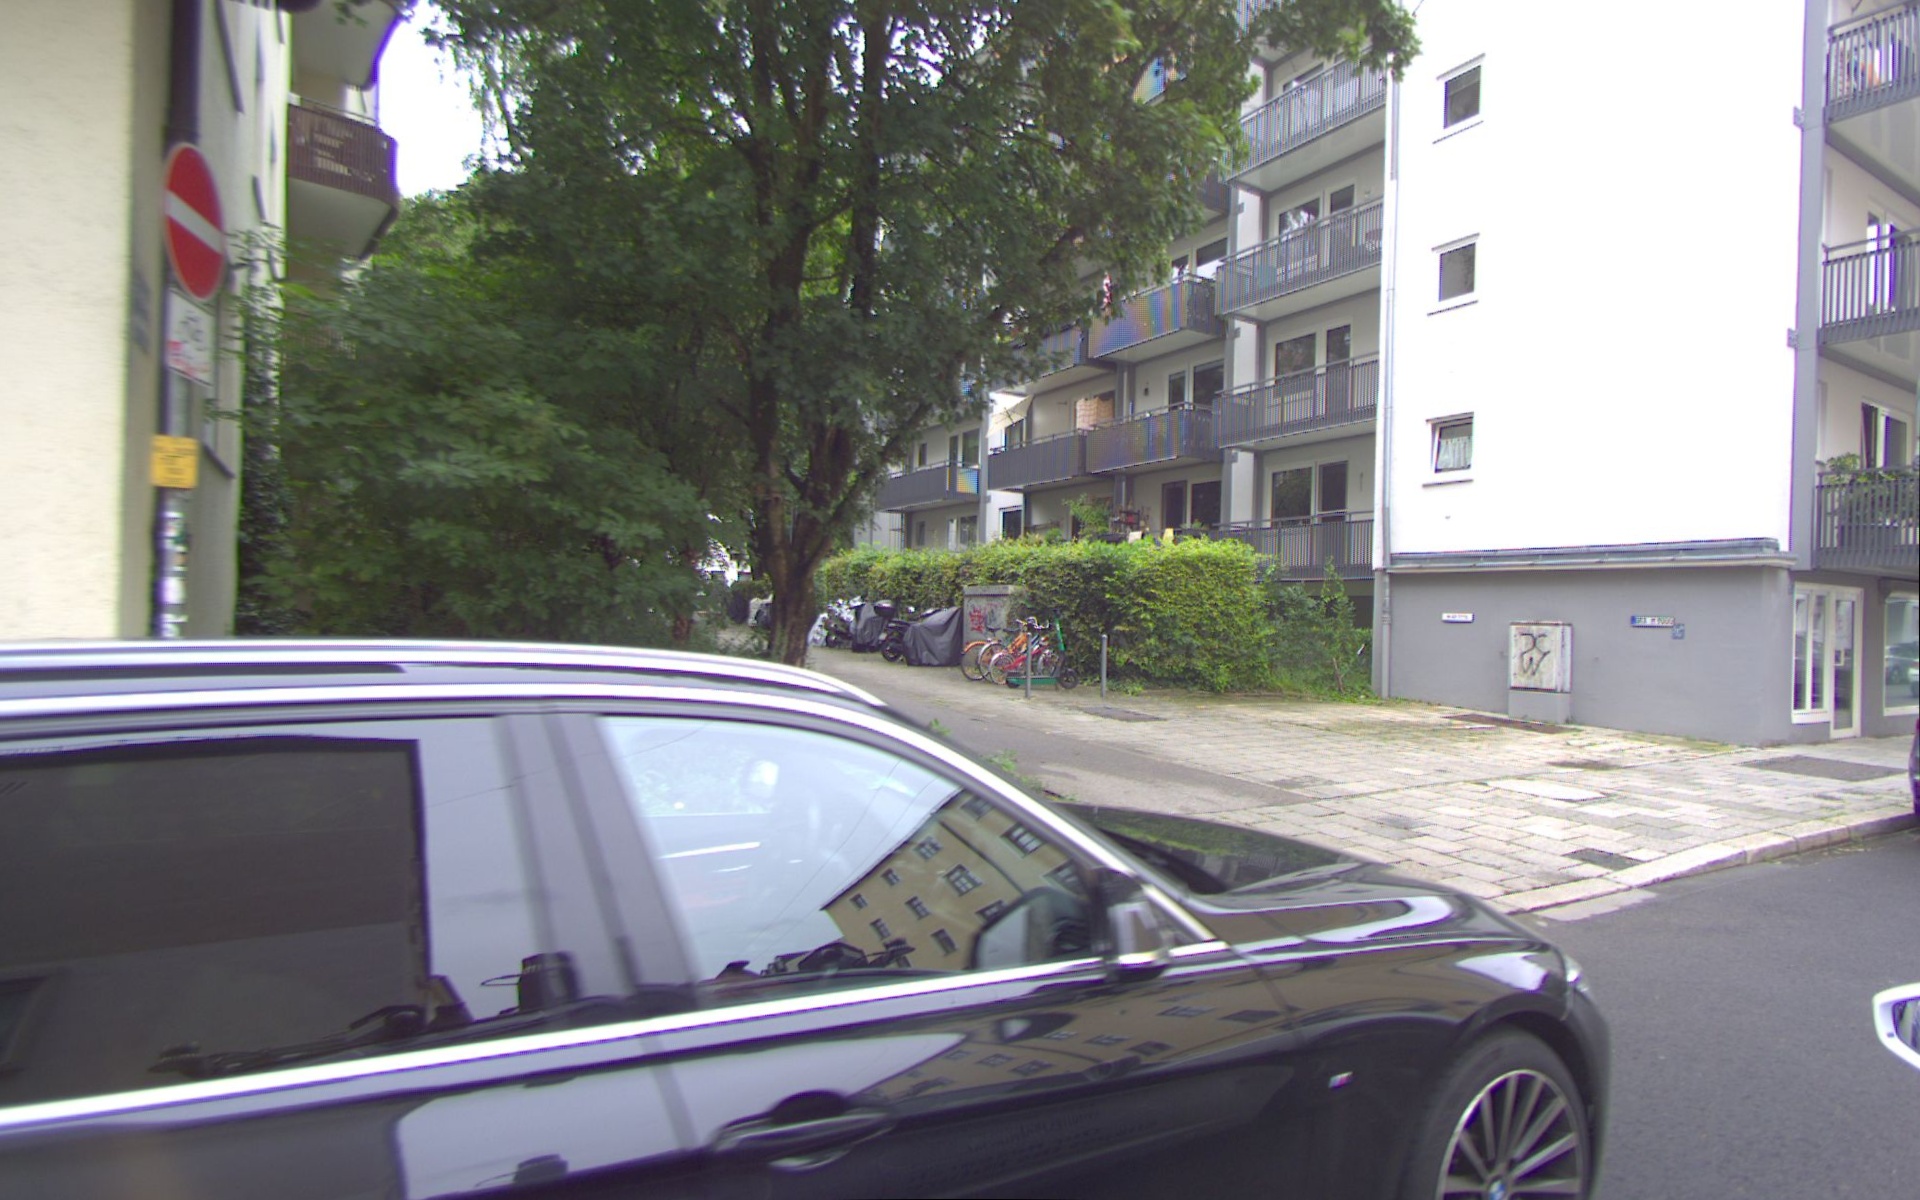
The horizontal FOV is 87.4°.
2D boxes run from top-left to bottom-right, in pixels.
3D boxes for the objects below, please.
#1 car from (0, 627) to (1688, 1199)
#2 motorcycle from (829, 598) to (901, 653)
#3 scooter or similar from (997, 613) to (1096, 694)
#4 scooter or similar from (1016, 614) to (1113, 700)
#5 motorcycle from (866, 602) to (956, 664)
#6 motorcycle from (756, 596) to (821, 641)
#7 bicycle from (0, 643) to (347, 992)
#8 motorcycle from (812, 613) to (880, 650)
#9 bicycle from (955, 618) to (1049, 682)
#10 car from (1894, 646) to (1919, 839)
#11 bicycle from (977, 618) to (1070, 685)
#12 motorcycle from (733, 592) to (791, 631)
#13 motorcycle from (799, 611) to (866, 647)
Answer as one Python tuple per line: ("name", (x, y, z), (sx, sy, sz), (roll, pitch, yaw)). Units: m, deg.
("car", (-0.651, 0.788, 1.997), (4.332, 1.427, 1.847), (2, -2, -31))
("motorcycle", (-2.177, 0.577, 23.289), (0.535, 1.214, 1.810), (1, 1, 40))
("scooter or similar", (1.372, 0.841, 15.964), (1.517, 1.261, 0.345), (1, 0, -9))
("scooter or similar", (1.561, 0.832, 14.900), (1.553, 1.218, 0.319), (1, -1, -33))
("motorcycle", (-0.992, 0.648, 20.567), (1.798, 1.214, 0.539), (0, 1, -30))
("motorcycle", (-4.629, 0.480, 27.179), (0.535, 1.161, 1.810), (1, 1, 40))
("bicycle", (-3.314, 0.750, 3.685), (1.768, 1.177, 0.532), (2, -3, -31))
("motorcycle", (-2.772, 0.749, 24.570), (0.535, 0.848, 1.810), (1, 1, 40))
("bicycle", (0.724, 0.835, 17.026), (1.590, 1.052, 0.511), (1, -1, -32))
("car", (9.320, 1.126, 8.032), (3.896, 1.461, 1.685), (2, -2, -31))
("bicycle", (1.057, 0.842, 16.648), (1.590, 1.052, 0.421), (1, -1, -32))
("motorcycle", (-6.074, 0.323, 30.886), (0.535, 1.161, 1.810), (1, 1, 40))
("motorcycle", (-3.232, 0.726, 25.523), (0.535, 0.848, 1.810), (1, 1, 40))
